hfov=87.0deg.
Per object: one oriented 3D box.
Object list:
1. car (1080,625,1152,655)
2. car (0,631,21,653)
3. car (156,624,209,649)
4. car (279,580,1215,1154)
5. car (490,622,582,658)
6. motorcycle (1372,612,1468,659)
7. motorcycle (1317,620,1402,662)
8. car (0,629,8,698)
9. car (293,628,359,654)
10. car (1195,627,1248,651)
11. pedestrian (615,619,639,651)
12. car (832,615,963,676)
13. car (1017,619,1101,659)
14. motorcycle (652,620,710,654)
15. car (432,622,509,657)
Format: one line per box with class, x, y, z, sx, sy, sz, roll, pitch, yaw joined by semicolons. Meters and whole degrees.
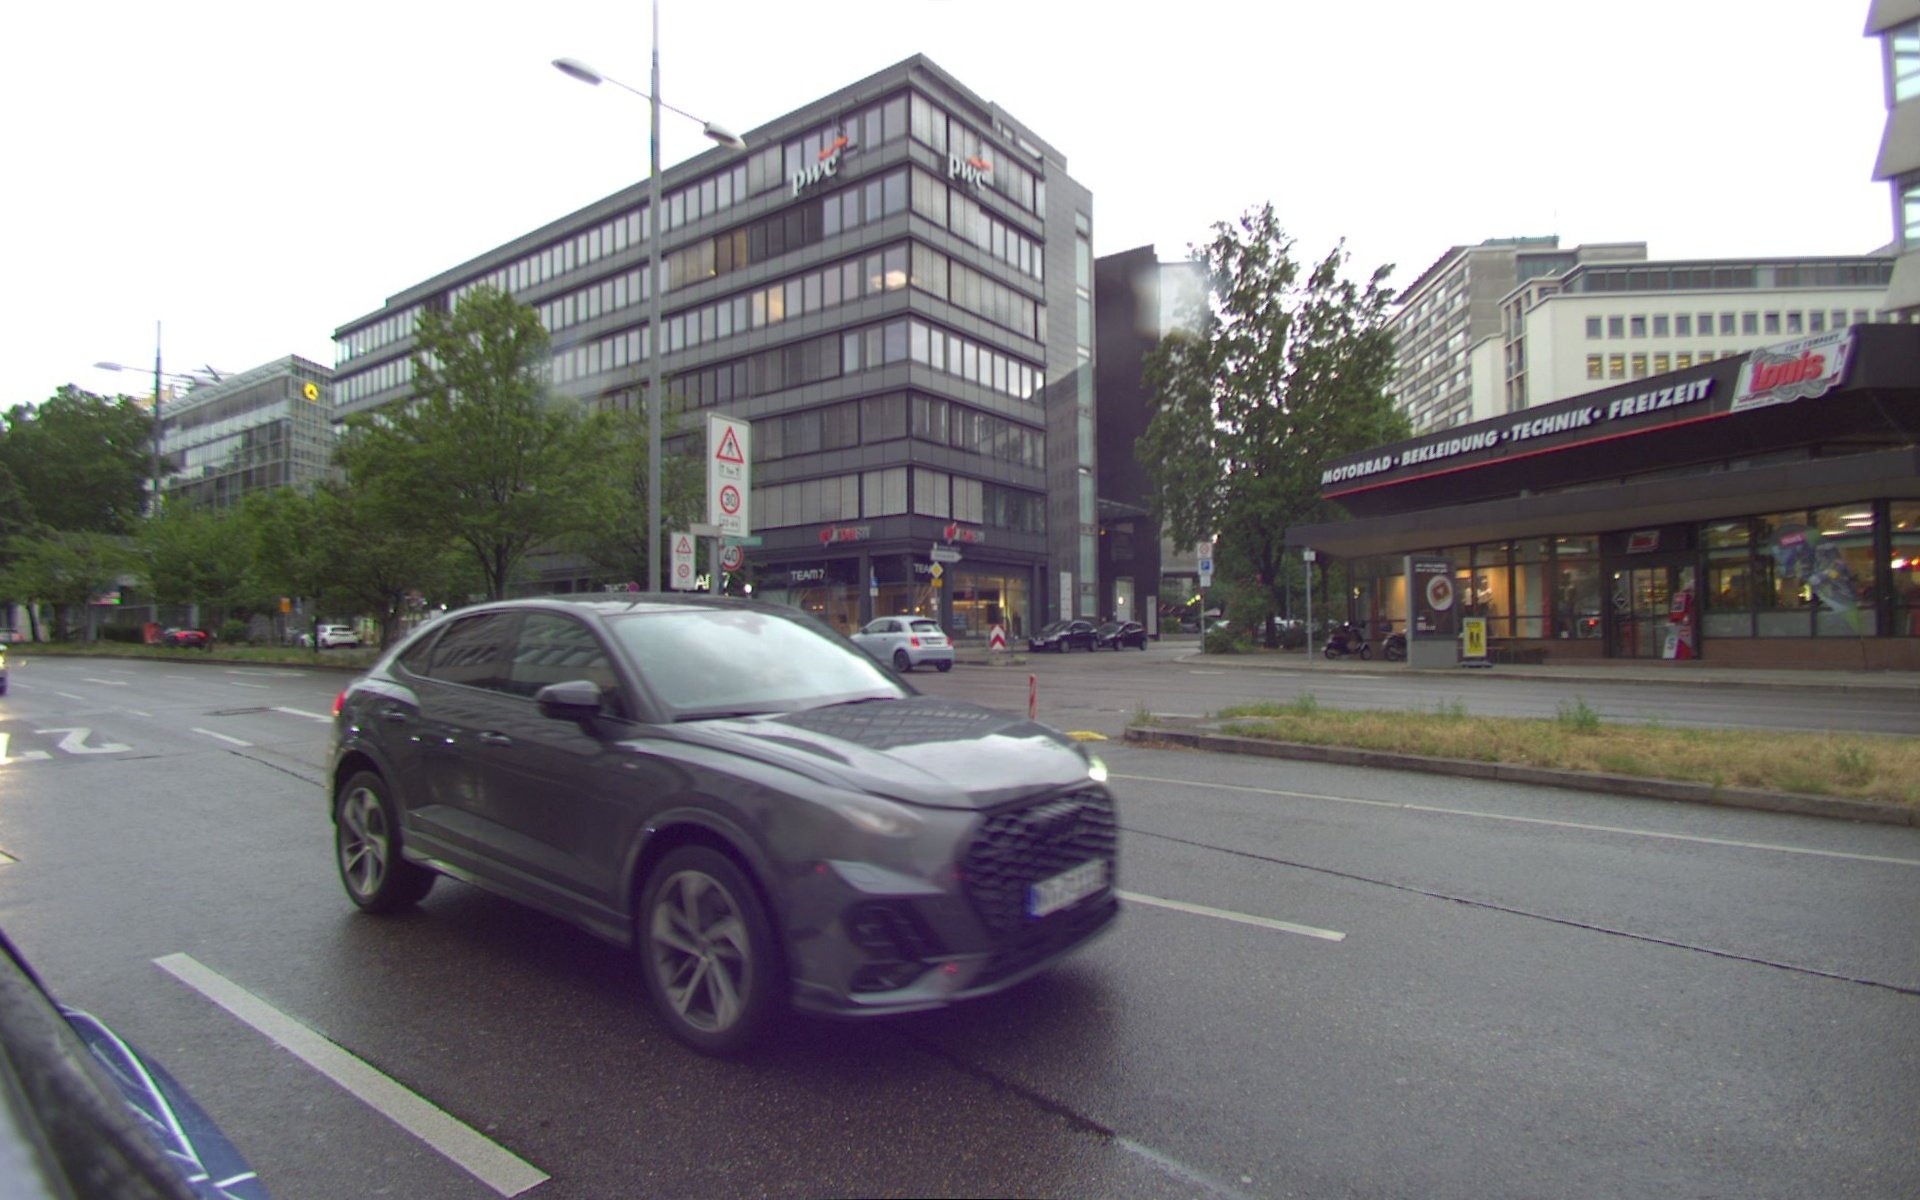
car;7.613;1.934;49.249;1.844;1.298;3.950;-1;-1;37
car;-76.082;3.334;80.028;4.483;1.741;1.722;-2;-2;35
car;-50.609;2.378;65.811;4.481;1.556;1.972;-2;-2;42
car;-1.245;0.735;4.654;4.281;1.446;1.918;-2;-2;38
car;-20.004;1.859;47.647;4.764;1.496;1.792;-2;2;37
motorcycle;14.284;1.079;31.434;2.843;1.384;0.806;-1;-1;-16
motorcycle;13.566;1.378;34.362;2.773;1.343;0.725;-1;-1;-15
car;-22.319;1.380;22.019;3.866;1.454;1.830;-2;-1;39
car;-38.255;2.473;61.038;4.298;1.455;1.794;-2;-1;34
car;15.939;2.329;61.532;1.843;1.298;3.951;-1;-1;36
pedestrian;-17.036;1.787;51.796;0.964;1.650;0.776;-2;-2;36
car;-1.817;1.235;28.436;1.762;1.585;3.695;1;-2;-42
car;4.499;1.705;45.631;1.996;1.652;3.951;-1;-1;36
motorcycle;-12.405;1.642;44.984;2.344;1.404;0.857;-1;2;10
car;-24.872;1.971;51.380;4.304;1.673;1.791;-2;-1;38
